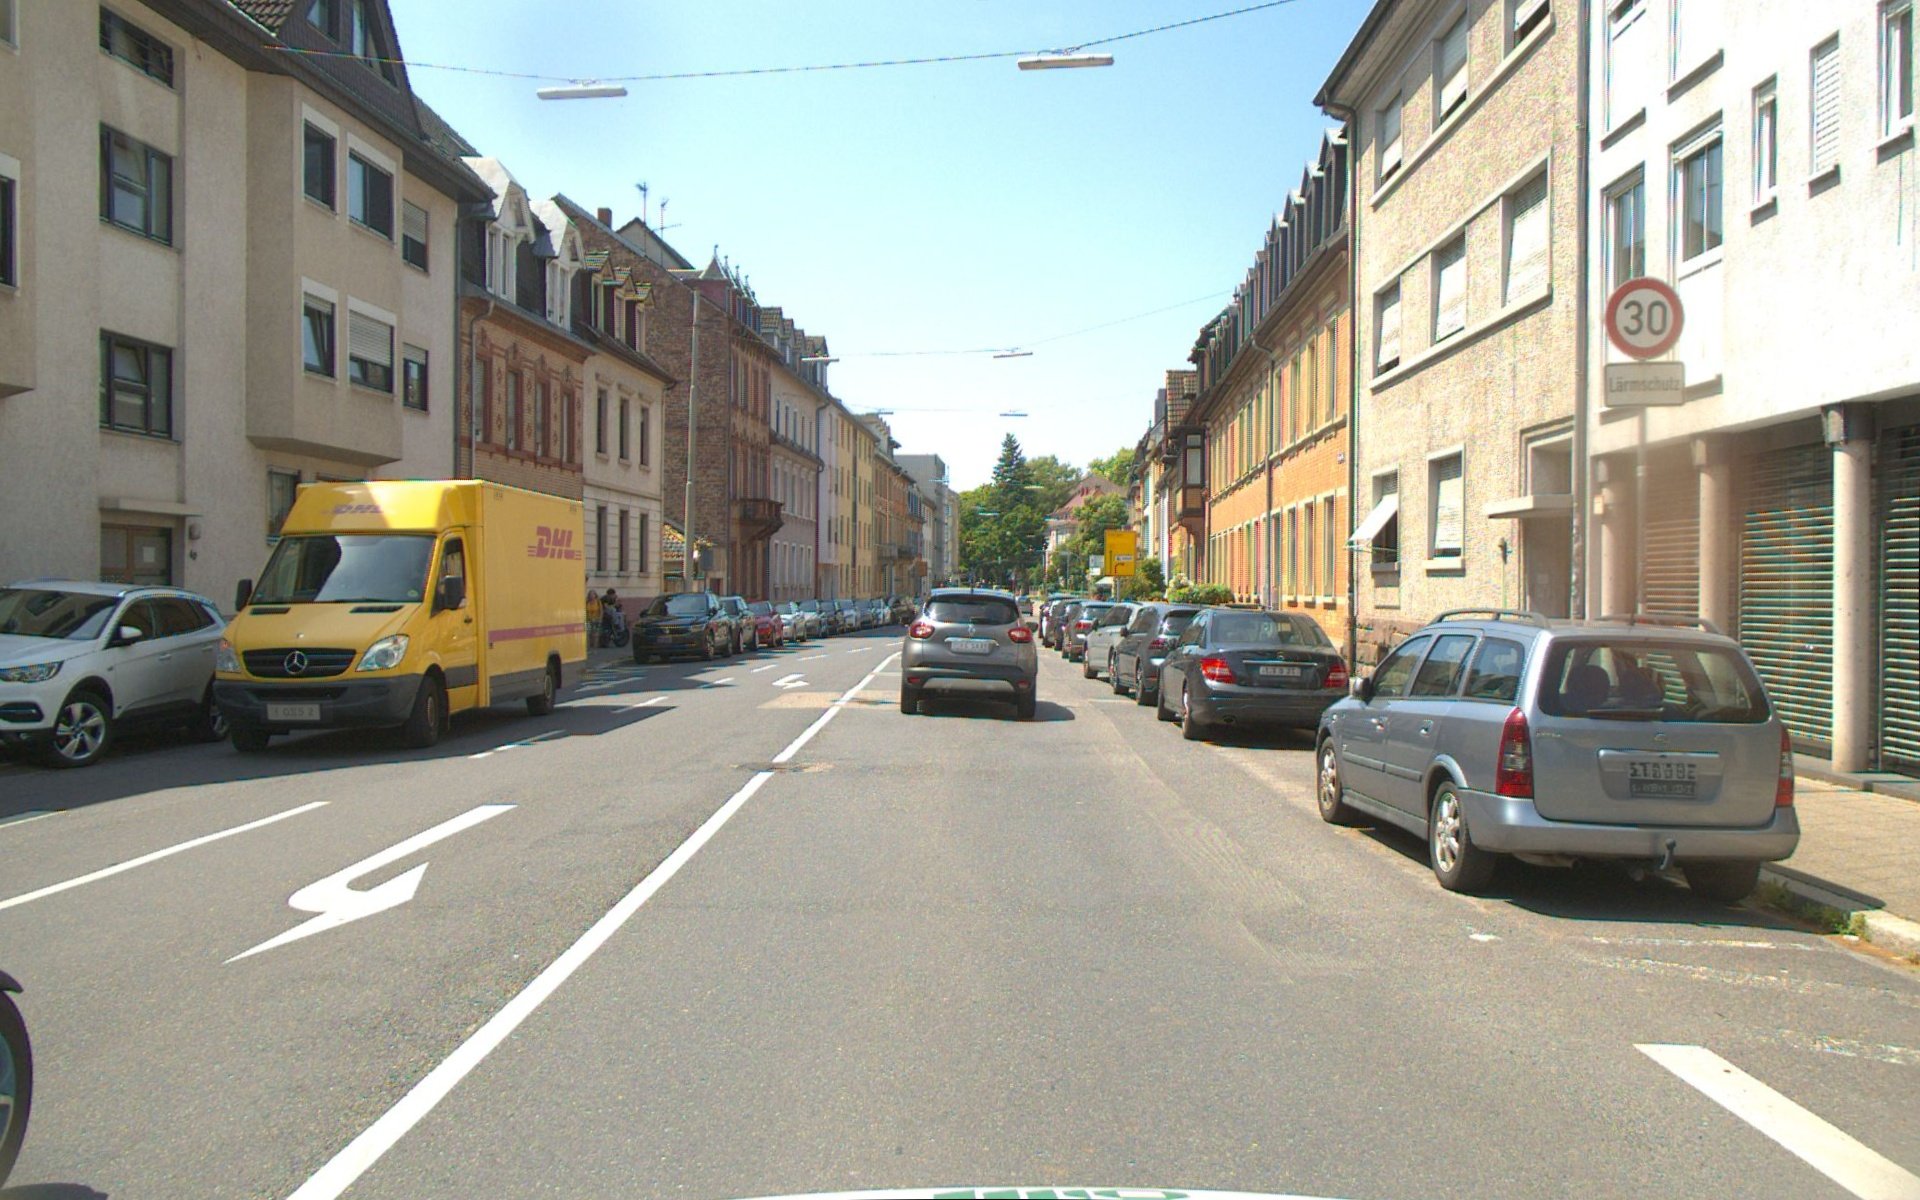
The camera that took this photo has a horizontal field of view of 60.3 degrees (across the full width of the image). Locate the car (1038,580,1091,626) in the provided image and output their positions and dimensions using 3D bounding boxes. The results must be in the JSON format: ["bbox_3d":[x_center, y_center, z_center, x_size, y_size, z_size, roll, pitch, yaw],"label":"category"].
[{"bbox_3d":[3.996,0.103,63.895,1.952,1.691,4.627,0,0,3],"label":"car"}]

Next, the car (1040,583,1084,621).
[{"bbox_3d":[4.996,0.080,81.631,1.822,1.778,4.618,2,1,0],"label":"car"}]

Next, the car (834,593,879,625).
[{"bbox_3d":[-4.978,0.418,79.987,1.802,1.447,4.646,-2,0,1],"label":"car"}]

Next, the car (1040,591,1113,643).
[{"bbox_3d":[3.441,0.483,49.506,1.615,1.439,4.498,1,0,-3],"label":"car"}]

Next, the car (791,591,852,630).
[{"bbox_3d":[-5.724,0.407,68.813,1.801,1.447,4.504,-4,0,4],"label":"car"}]

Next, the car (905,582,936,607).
[{"bbox_3d":[-2.814,-0.400,119.171,1.865,1.648,4.304,-2,0,2],"label":"car"}]

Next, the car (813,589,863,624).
[{"bbox_3d":[-5.425,0.285,74.065,1.802,1.447,4.502,-2,0,1],"label":"car"}]

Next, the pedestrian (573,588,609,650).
[{"bbox_3d":[-9.128,0.460,40.914,0.595,1.521,0.971,2,0,3],"label":"pedestrian"}]

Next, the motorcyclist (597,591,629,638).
[{"bbox_3d":[-9.460,0.389,45.055,0.703,1.270,0.712,0,0,1],"label":"motorcyclist"}]

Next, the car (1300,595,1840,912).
[{"bbox_3d":[3.399,0.746,10.114,1.644,1.480,4.141,2,0,-2],"label":"car"}]

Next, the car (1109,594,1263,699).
[{"bbox_3d":[3.307,0.635,24.873,1.618,1.445,4.047,0,0,-2],"label":"car"}]

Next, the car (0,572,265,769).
[{"bbox_3d":[-8.632,0.571,16.139,1.802,1.623,4.386,2,0,0],"label":"car"}]

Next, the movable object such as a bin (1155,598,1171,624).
[{"bbox_3d":[8.588,0.469,69.896,0.645,1.073,0.749,0,0,4],"label":"movable object such as a bin"}]

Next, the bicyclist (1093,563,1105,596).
[{"bbox_3d":[6.387,-0.941,76.211,0.521,1.495,0.791,0,0,3],"label":"bicyclist"}]

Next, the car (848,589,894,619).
[{"bbox_3d":[-4.579,0.197,85.761,1.801,1.447,4.560,-3,0,4],"label":"car"}]

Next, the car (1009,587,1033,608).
[{"bbox_3d":[4.734,-0.192,127.529,1.726,1.587,3.944,0,0,4],"label":"car"}]

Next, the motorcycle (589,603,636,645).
[{"bbox_3d":[-9.500,0.645,45.246,0.827,1.097,1.872,0,0,2],"label":"motorcycle"}]

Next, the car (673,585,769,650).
[{"bbox_3d":[-6.585,0.458,45.935,1.802,1.624,4.503,-3,0,2],"label":"car"}]

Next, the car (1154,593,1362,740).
[{"bbox_3d":[3.315,0.670,19.170,1.676,1.499,4.439,0,0,1],"label":"car"}]

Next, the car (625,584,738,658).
[{"bbox_3d":[-6.662,0.471,40.004,1.801,1.624,4.503,-2,0,2],"label":"car"}]

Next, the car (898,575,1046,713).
[{"bbox_3d":[0.078,0.518,22.129,1.709,1.644,3.998,1,0,-3],"label":"car"}]

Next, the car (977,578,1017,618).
[{"bbox_3d":[2.003,-0.127,87.628,1.952,2.049,4.468,-1,0,3],"label":"car"}]

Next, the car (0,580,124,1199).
[{"bbox_3d":[-2.840,0.703,2.963,1.467,1.484,2.720,0,0,-5],"label":"car"}]

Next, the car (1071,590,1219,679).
[{"bbox_3d":[3.297,0.584,30.319,1.817,1.489,4.545,1,0,-5],"label":"car"}]

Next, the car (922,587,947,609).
[{"bbox_3d":[-2.003,-0.194,130.839,1.866,1.648,4.302,-2,0,-1],"label":"car"}]

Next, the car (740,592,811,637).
[{"bbox_3d":[-6.322,0.485,57.088,1.801,1.447,4.503,-2,0,2],"label":"car"}]

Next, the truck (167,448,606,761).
[{"bbox_3d":[-6.080,0.023,18.984,2.179,2.819,7.565,-1,0,1],"label":"truck"}]

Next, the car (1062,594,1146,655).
[{"bbox_3d":[3.493,0.573,40.666,1.666,1.405,4.166,1,0,0],"label":"car"}]

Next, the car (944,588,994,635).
[{"bbox_3d":[0.367,0.417,62.277,1.775,1.649,4.442,-1,0,1],"label":"car"}]

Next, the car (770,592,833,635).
[{"bbox_3d":[-5.994,0.500,62.948,1.802,1.447,4.503,-4,0,1],"label":"car"}]

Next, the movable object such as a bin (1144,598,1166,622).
[{"bbox_3d":[7.535,0.396,63.874,0.772,0.923,0.539,0,0,0],"label":"movable object such as a bin"}]

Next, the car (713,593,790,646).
[{"bbox_3d":[-6.303,0.556,50.428,1.802,1.447,4.501,-3,0,-1],"label":"car"}]

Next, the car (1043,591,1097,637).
[{"bbox_3d":[3.610,0.429,54.762,1.680,1.439,4.591,0,0,3],"label":"car"}]
